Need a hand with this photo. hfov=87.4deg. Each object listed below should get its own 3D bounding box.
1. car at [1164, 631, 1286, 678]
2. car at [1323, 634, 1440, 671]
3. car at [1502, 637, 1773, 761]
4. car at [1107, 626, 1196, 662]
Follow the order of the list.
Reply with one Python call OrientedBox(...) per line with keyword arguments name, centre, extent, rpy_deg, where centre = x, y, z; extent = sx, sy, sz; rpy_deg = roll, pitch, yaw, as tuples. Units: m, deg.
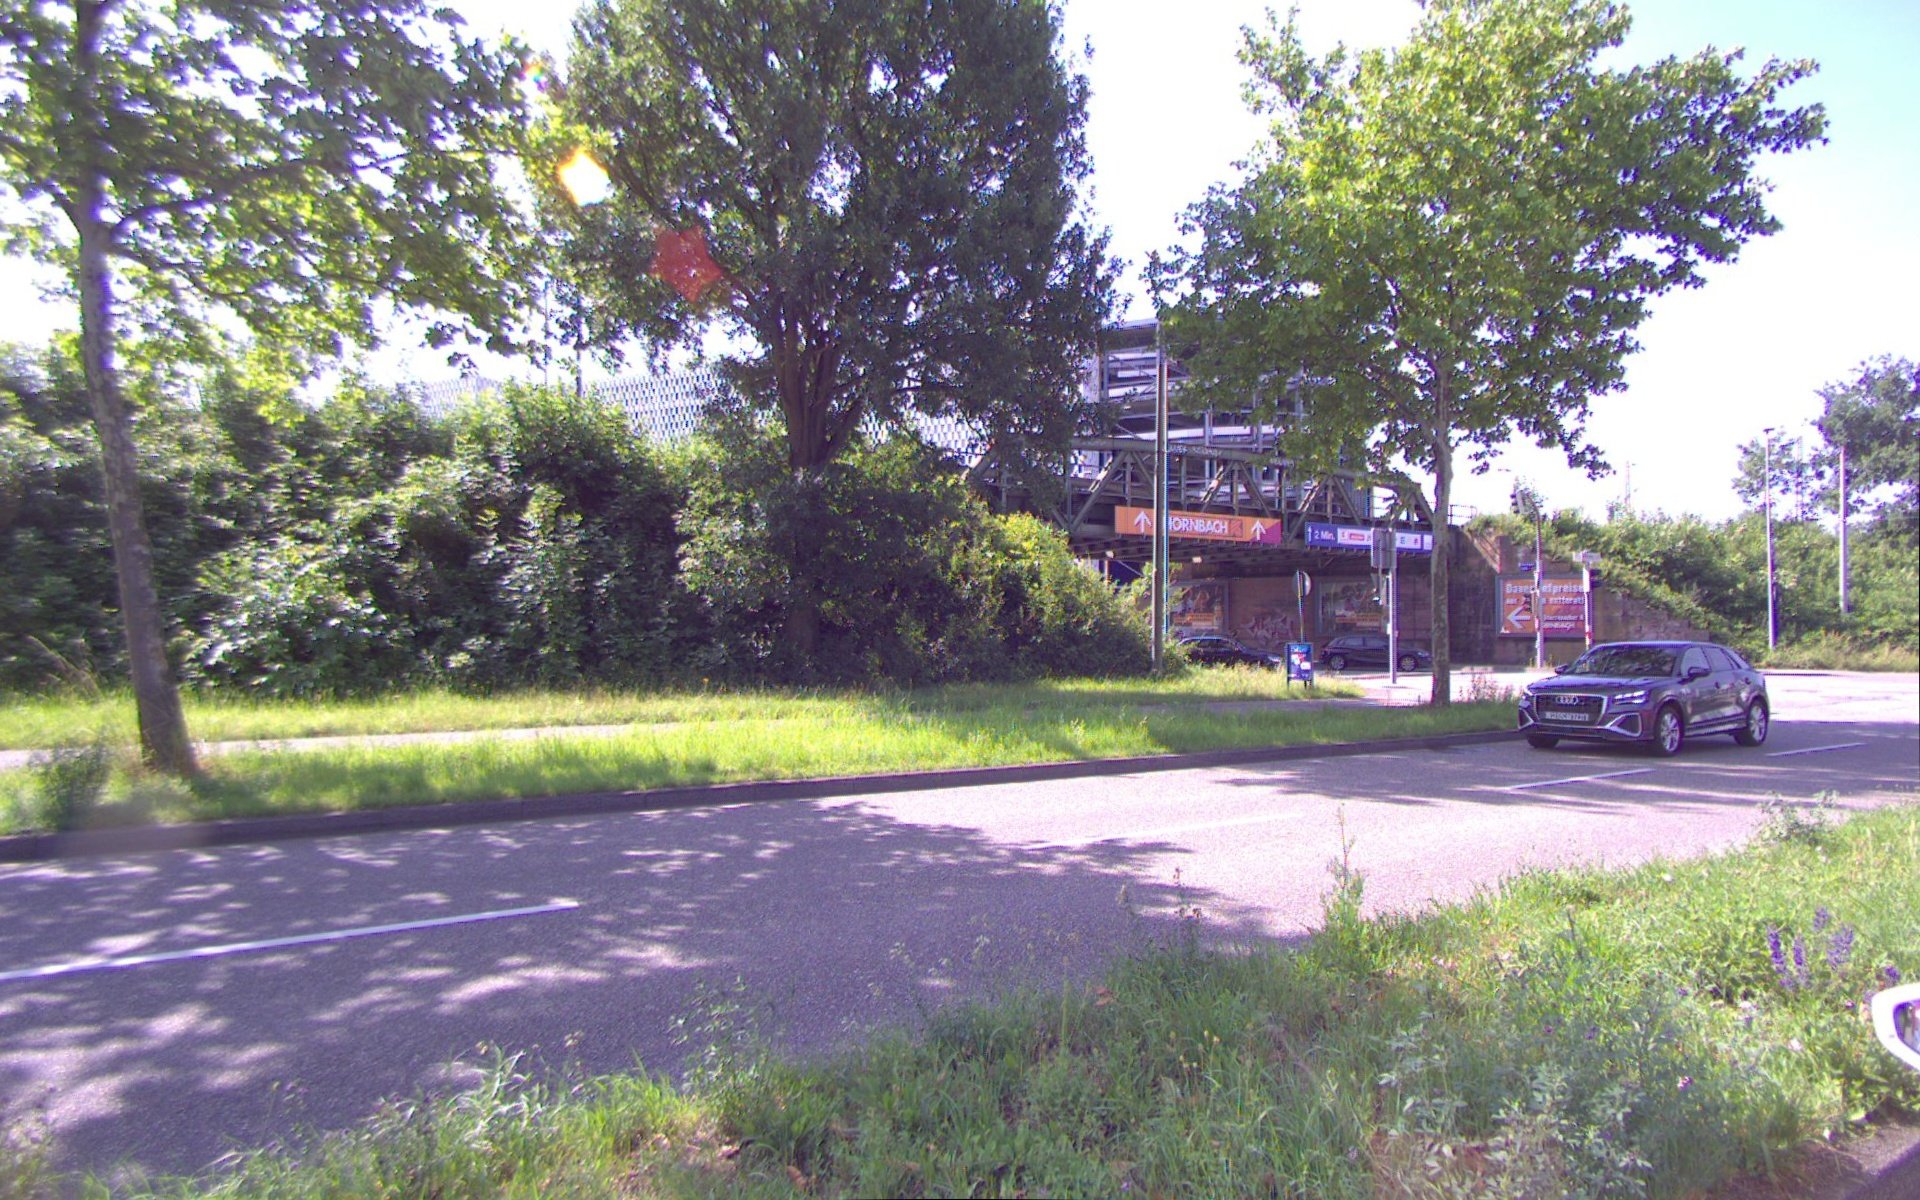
OrientedBox(name="car", centre=(9.359, 1.899, 35.463), extent=(3.869, 1.500, 1.822), rpy_deg=(1, -1, 25))
OrientedBox(name="car", centre=(16.907, 2.077, 40.348), extent=(4.253, 1.413, 1.770), rpy_deg=(-1, -2, 24))
OrientedBox(name="car", centre=(9.623, 1.304, 14.202), extent=(3.898, 1.486, 1.852), rpy_deg=(1, -3, -35))
OrientedBox(name="car", centre=(9.436, 2.138, 49.444), extent=(4.018, 1.670, 1.770), rpy_deg=(0, -1, 24))
